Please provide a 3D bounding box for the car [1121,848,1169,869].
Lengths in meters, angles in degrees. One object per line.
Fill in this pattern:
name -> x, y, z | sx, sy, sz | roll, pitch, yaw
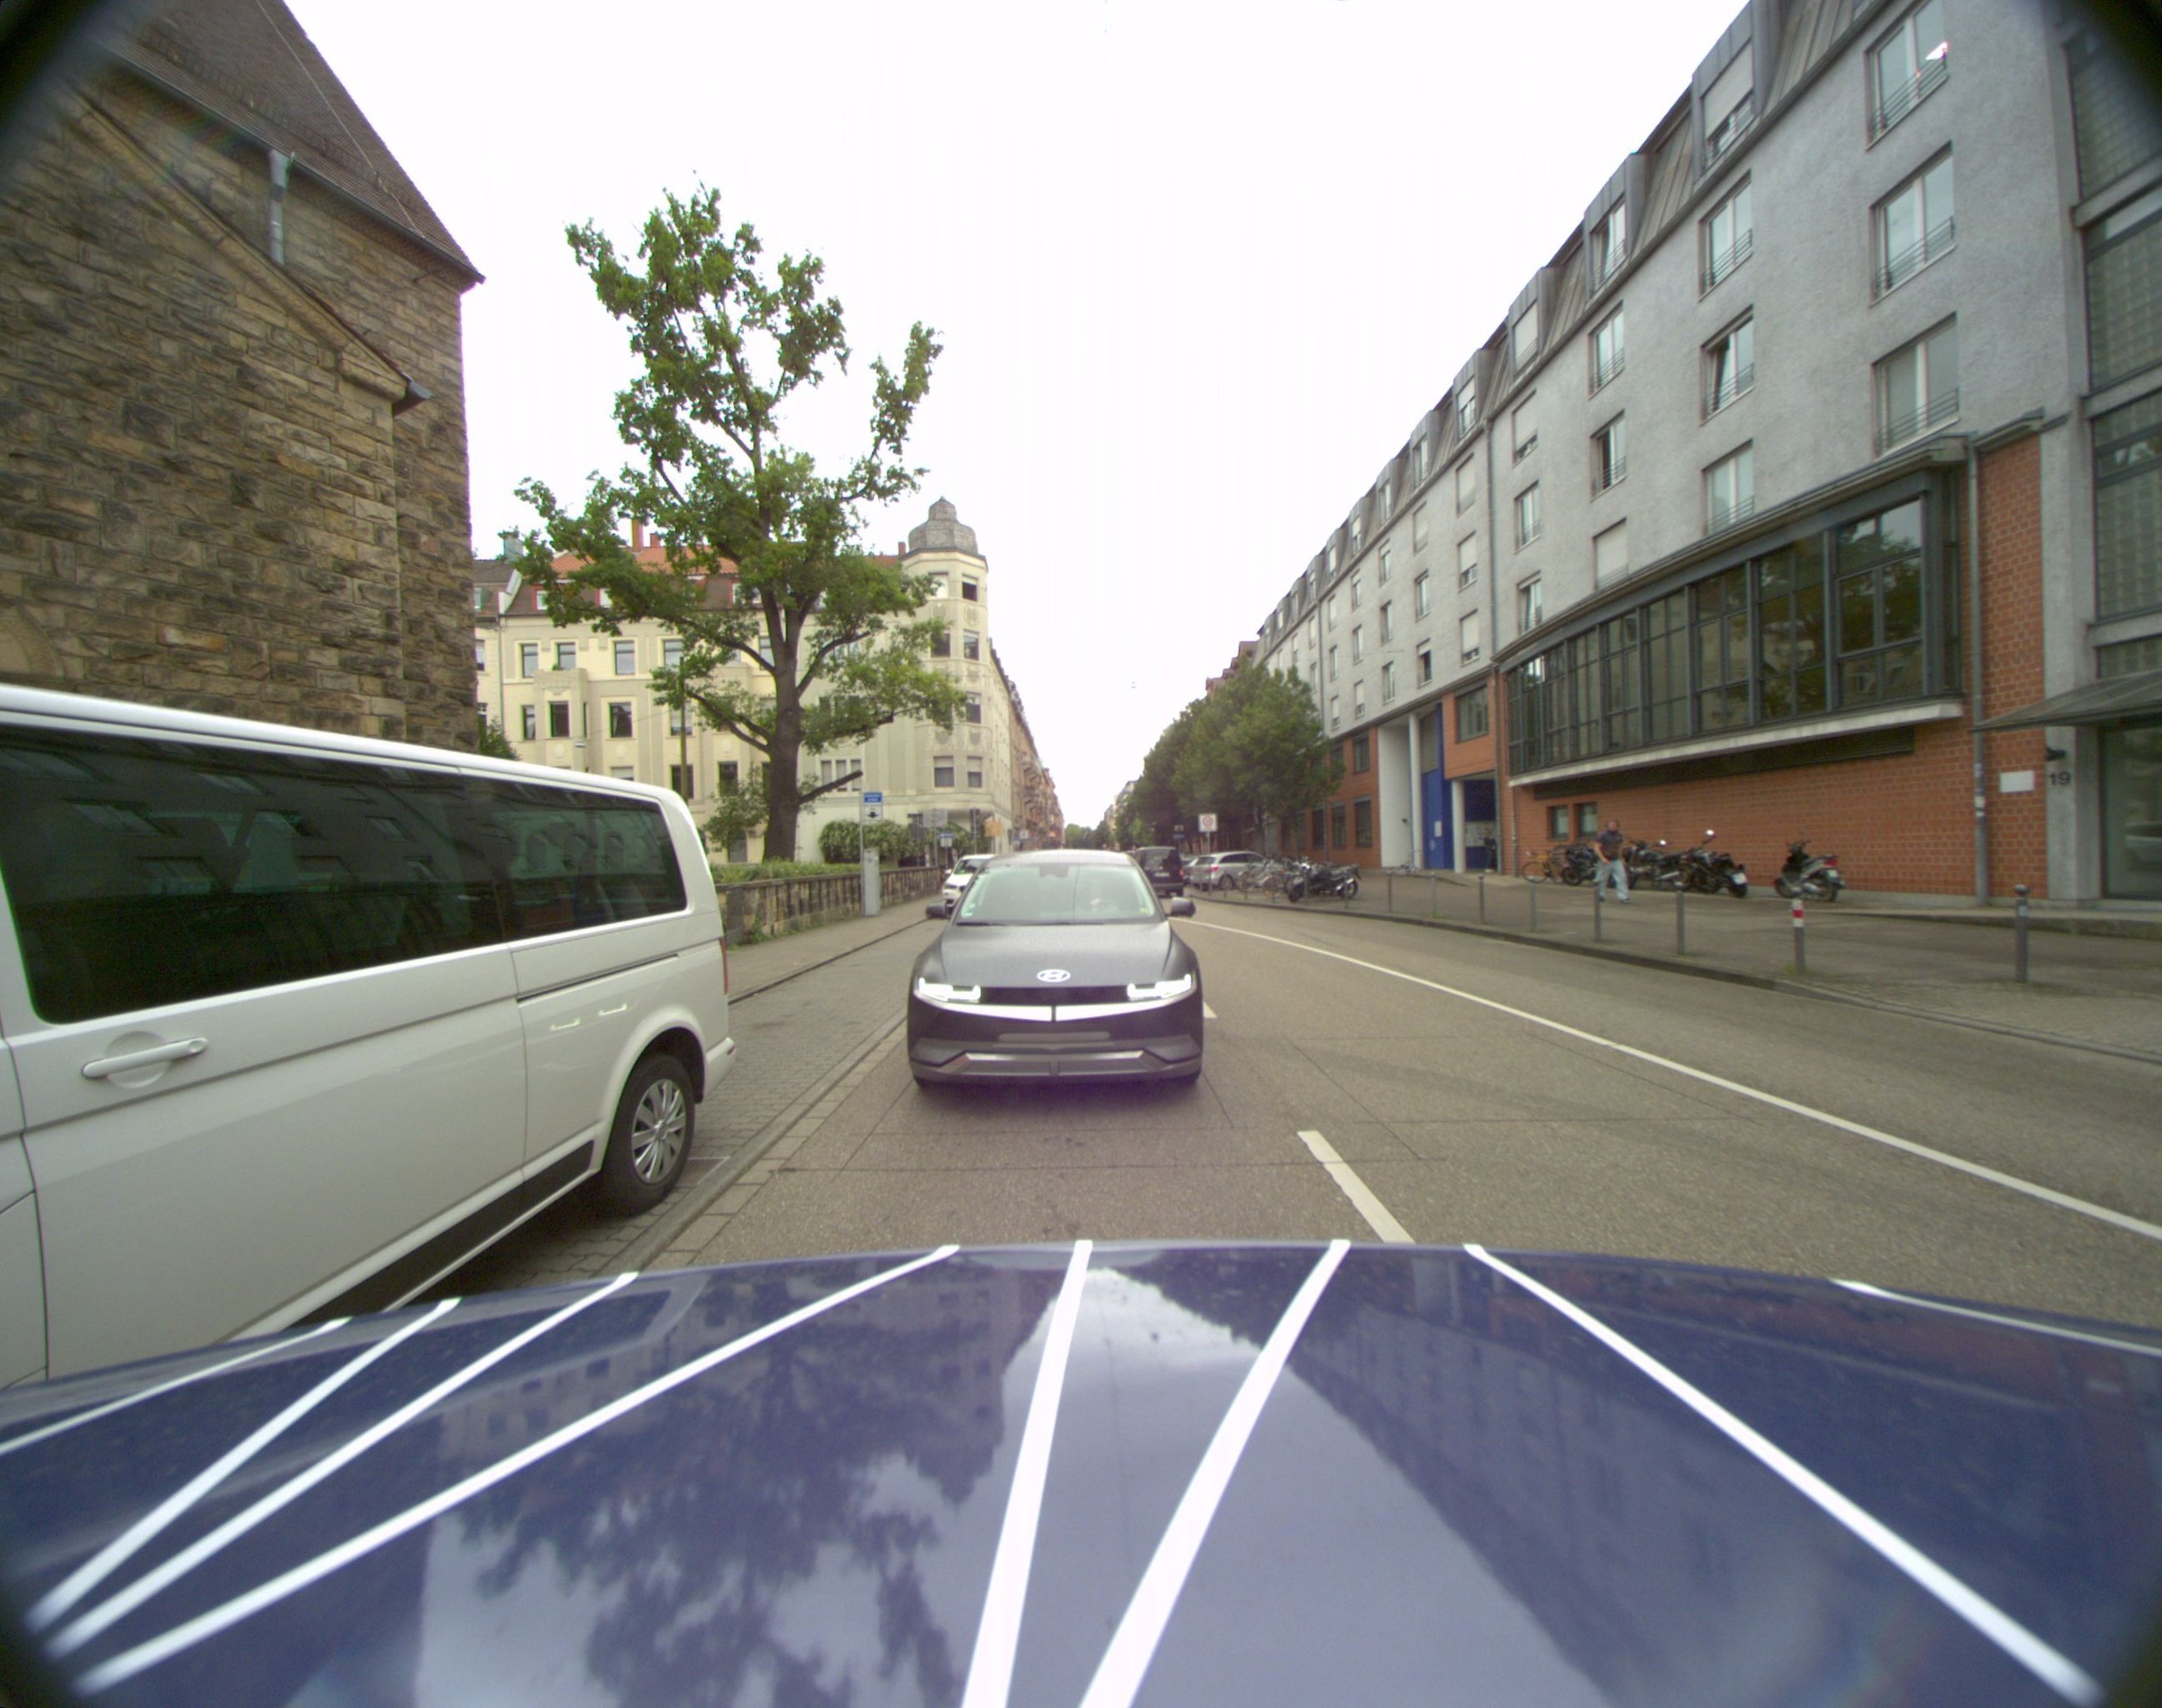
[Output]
car -> 6.085, 0.409, 72.427 | 4.004, 1.897, 1.996 | -2, 0, -22

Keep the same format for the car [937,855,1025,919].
car -> -2.683, 0.829, 21.208 | 1.820, 1.556, 4.000 | -2, 0, 1

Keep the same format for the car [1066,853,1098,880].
car -> 0.092, 0.744, 49.270 | 1.910, 1.597, 4.251 | -2, 1, 2

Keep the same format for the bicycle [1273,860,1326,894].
bicycle -> 7.504, 0.783, 26.131 | 1.630, 1.067, 0.416 | -3, 1, -1

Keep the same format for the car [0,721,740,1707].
car -> -2.771, 0.746, 1.553 | 1.810, 1.908, 5.163 | -2, 0, -1

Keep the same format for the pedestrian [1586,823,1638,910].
pedestrian -> 11.309, 0.259, 16.203 | 0.621, 1.812, 0.642 | -2, 1, 1

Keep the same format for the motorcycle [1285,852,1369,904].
motorcycle -> 6.960, 0.668, 21.583 | 2.124, 1.345, 0.599 | -3, 1, 1

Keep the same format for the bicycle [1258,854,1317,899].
bicycle -> 6.376, 0.690, 23.500 | 1.630, 1.282, 0.416 | -3, 1, -1

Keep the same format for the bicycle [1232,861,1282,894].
bicycle -> 6.295, 0.821, 27.143 | 1.630, 1.067, 0.416 | -3, 1, -1

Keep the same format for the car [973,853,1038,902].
car -> -2.611, 0.781, 27.216 | 1.820, 1.556, 4.000 | -2, 0, 1

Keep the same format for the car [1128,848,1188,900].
car -> 2.805, 0.685, 28.576 | 1.698, 1.793, 4.128 | -1, 0, -2

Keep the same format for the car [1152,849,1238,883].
car -> 6.021, 0.619, 40.183 | 4.004, 1.619, 1.996 | -2, 0, -22

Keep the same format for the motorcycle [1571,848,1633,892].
motorcycle -> 13.649, 0.392, 19.959 | 0.446, 1.091, 1.763 | -2, 0, 1

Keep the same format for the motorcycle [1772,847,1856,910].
motorcycle -> 13.520, 0.425, 14.058 | 0.445, 1.091, 1.765 | -1, 0, 21

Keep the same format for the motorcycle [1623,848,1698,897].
motorcycle -> 13.652, 0.419, 17.952 | 0.446, 1.091, 1.763 | -2, 0, 1

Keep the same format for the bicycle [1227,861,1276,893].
bicycle -> 6.179, 0.820, 27.587 | 1.630, 1.067, 0.416 | -3, 1, -1

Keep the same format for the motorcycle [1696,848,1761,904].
motorcycle -> 13.318, 0.431, 15.674 | 0.445, 1.091, 1.765 | -1, 0, 21

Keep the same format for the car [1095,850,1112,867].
car -> 2.706, 0.543, 90.975 | 1.998, 1.897, 4.000 | -2, 0, 1

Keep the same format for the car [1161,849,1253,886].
car -> 6.210, 0.638, 37.414 | 4.004, 1.619, 1.996 | -2, 0, -22

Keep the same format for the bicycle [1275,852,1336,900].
bicycle -> 6.732, 0.657, 22.799 | 1.630, 1.345, 0.416 | -3, 1, -1

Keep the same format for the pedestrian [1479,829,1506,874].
pedestrian -> 15.536, -0.107, 28.698 | 0.686, 1.640, 0.622 | -2, 1, 2

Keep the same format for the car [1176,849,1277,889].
car -> 6.530, 0.657, 34.195 | 4.004, 1.619, 1.996 | -2, 0, -22

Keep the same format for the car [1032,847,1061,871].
car -> -2.408, 0.337, 53.709 | 1.820, 1.556, 4.000 | -2, 0, 1

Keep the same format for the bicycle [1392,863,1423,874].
bicycle -> 13.397, 0.592, 31.186 | 1.010, 0.434, 0.527 | -2, 2, 2

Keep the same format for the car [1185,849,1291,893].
car -> 6.517, 0.674, 31.535 | 4.004, 1.619, 1.769 | -2, 0, -22

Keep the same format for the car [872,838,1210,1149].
car -> -0.195, 0.770, 6.193 | 1.820, 1.675, 4.000 | -2, 0, 1

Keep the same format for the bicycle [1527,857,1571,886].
bicycle -> 13.859, 0.505, 22.543 | 0.336, 0.783, 1.581 | -2, 0, 1
